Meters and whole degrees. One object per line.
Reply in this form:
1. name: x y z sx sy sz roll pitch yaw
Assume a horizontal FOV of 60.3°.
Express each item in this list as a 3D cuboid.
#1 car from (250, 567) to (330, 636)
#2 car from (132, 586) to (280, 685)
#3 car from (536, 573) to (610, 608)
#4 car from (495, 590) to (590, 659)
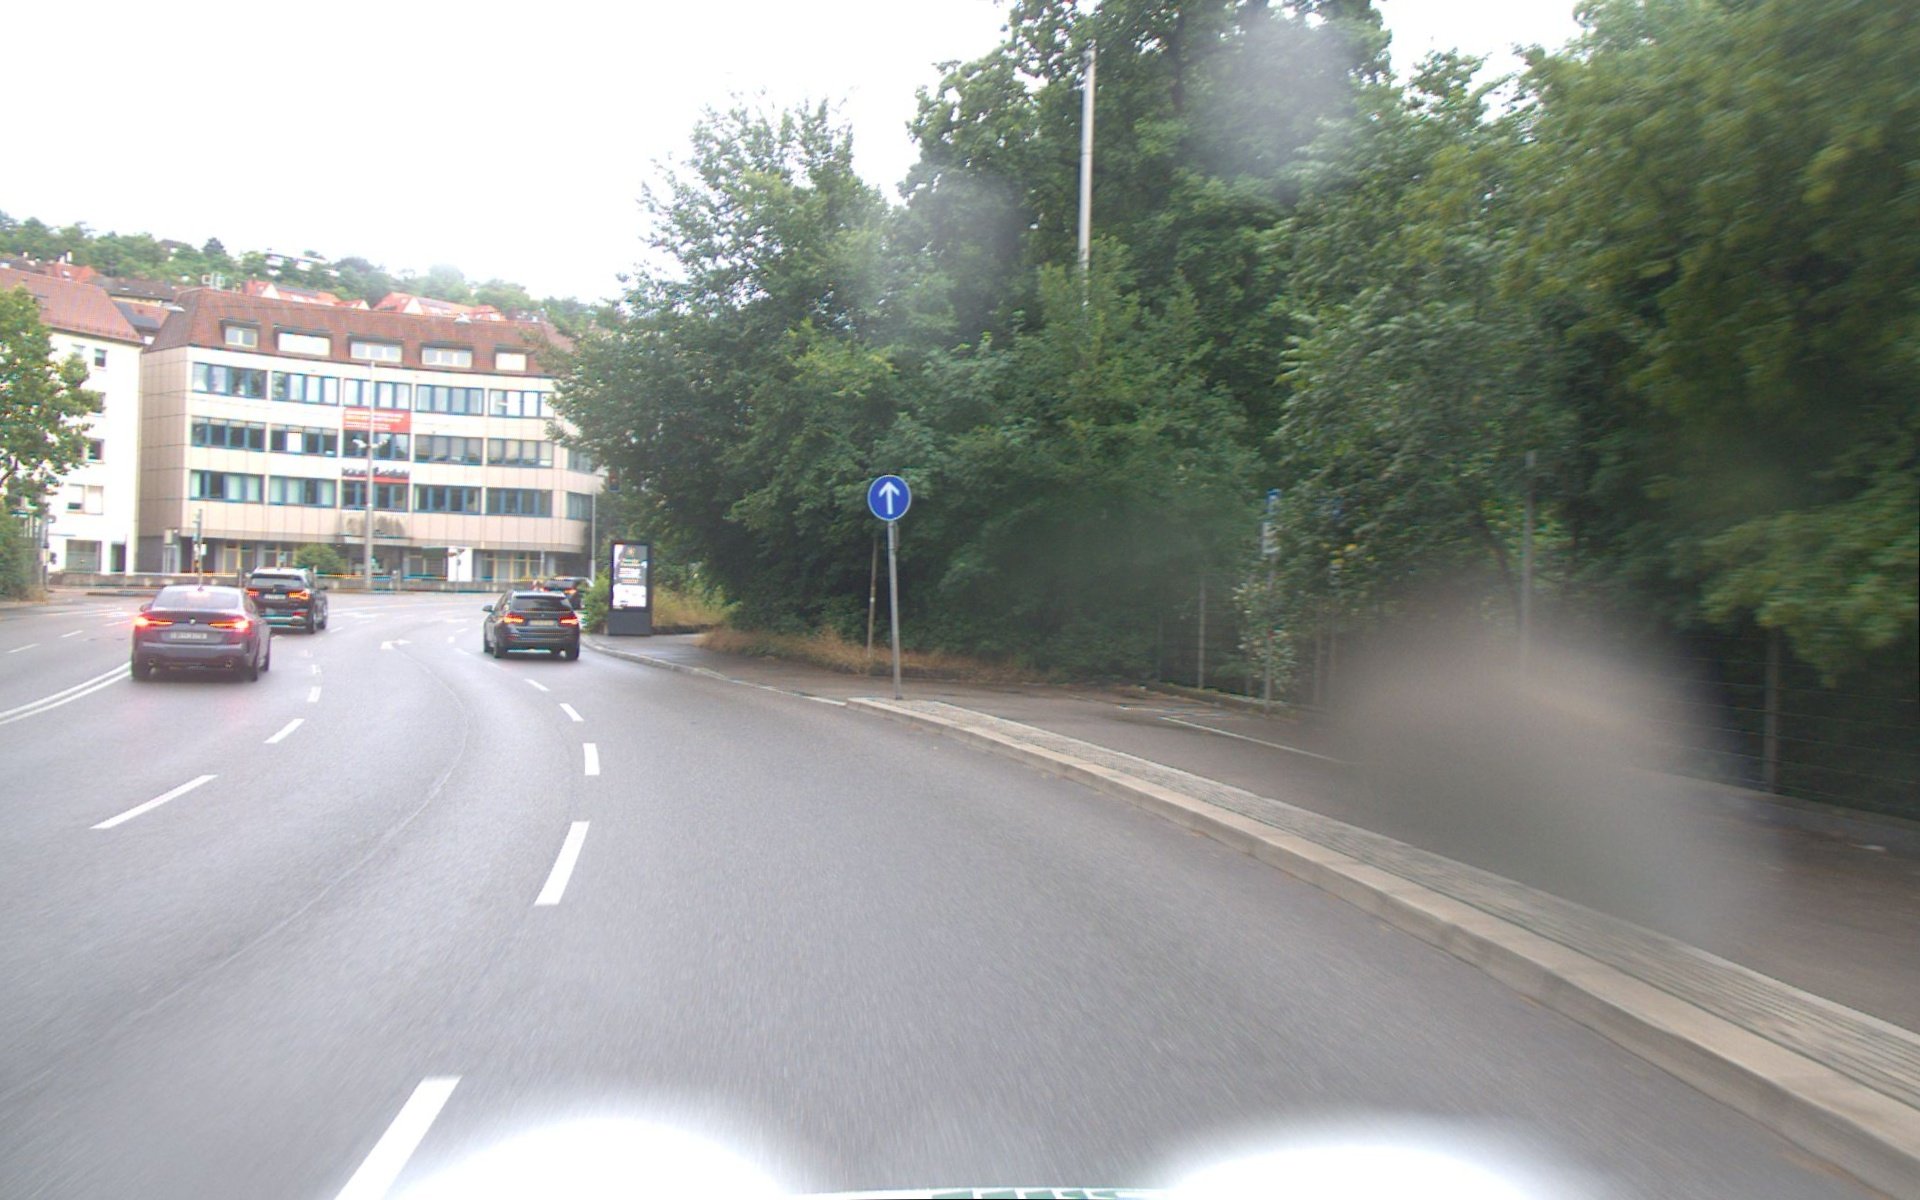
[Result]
1. car: -17.710 0.046 43.827 1.873 1.723 3.974 1 0 -21
2. car: -12.017 0.524 26.591 1.764 1.451 4.359 1 0 -20
3. car: -17.250 -0.421 73.936 1.753 1.450 4.616 2 1 5
4. car: -9.357 0.519 36.851 1.926 1.451 4.107 1 0 -16
